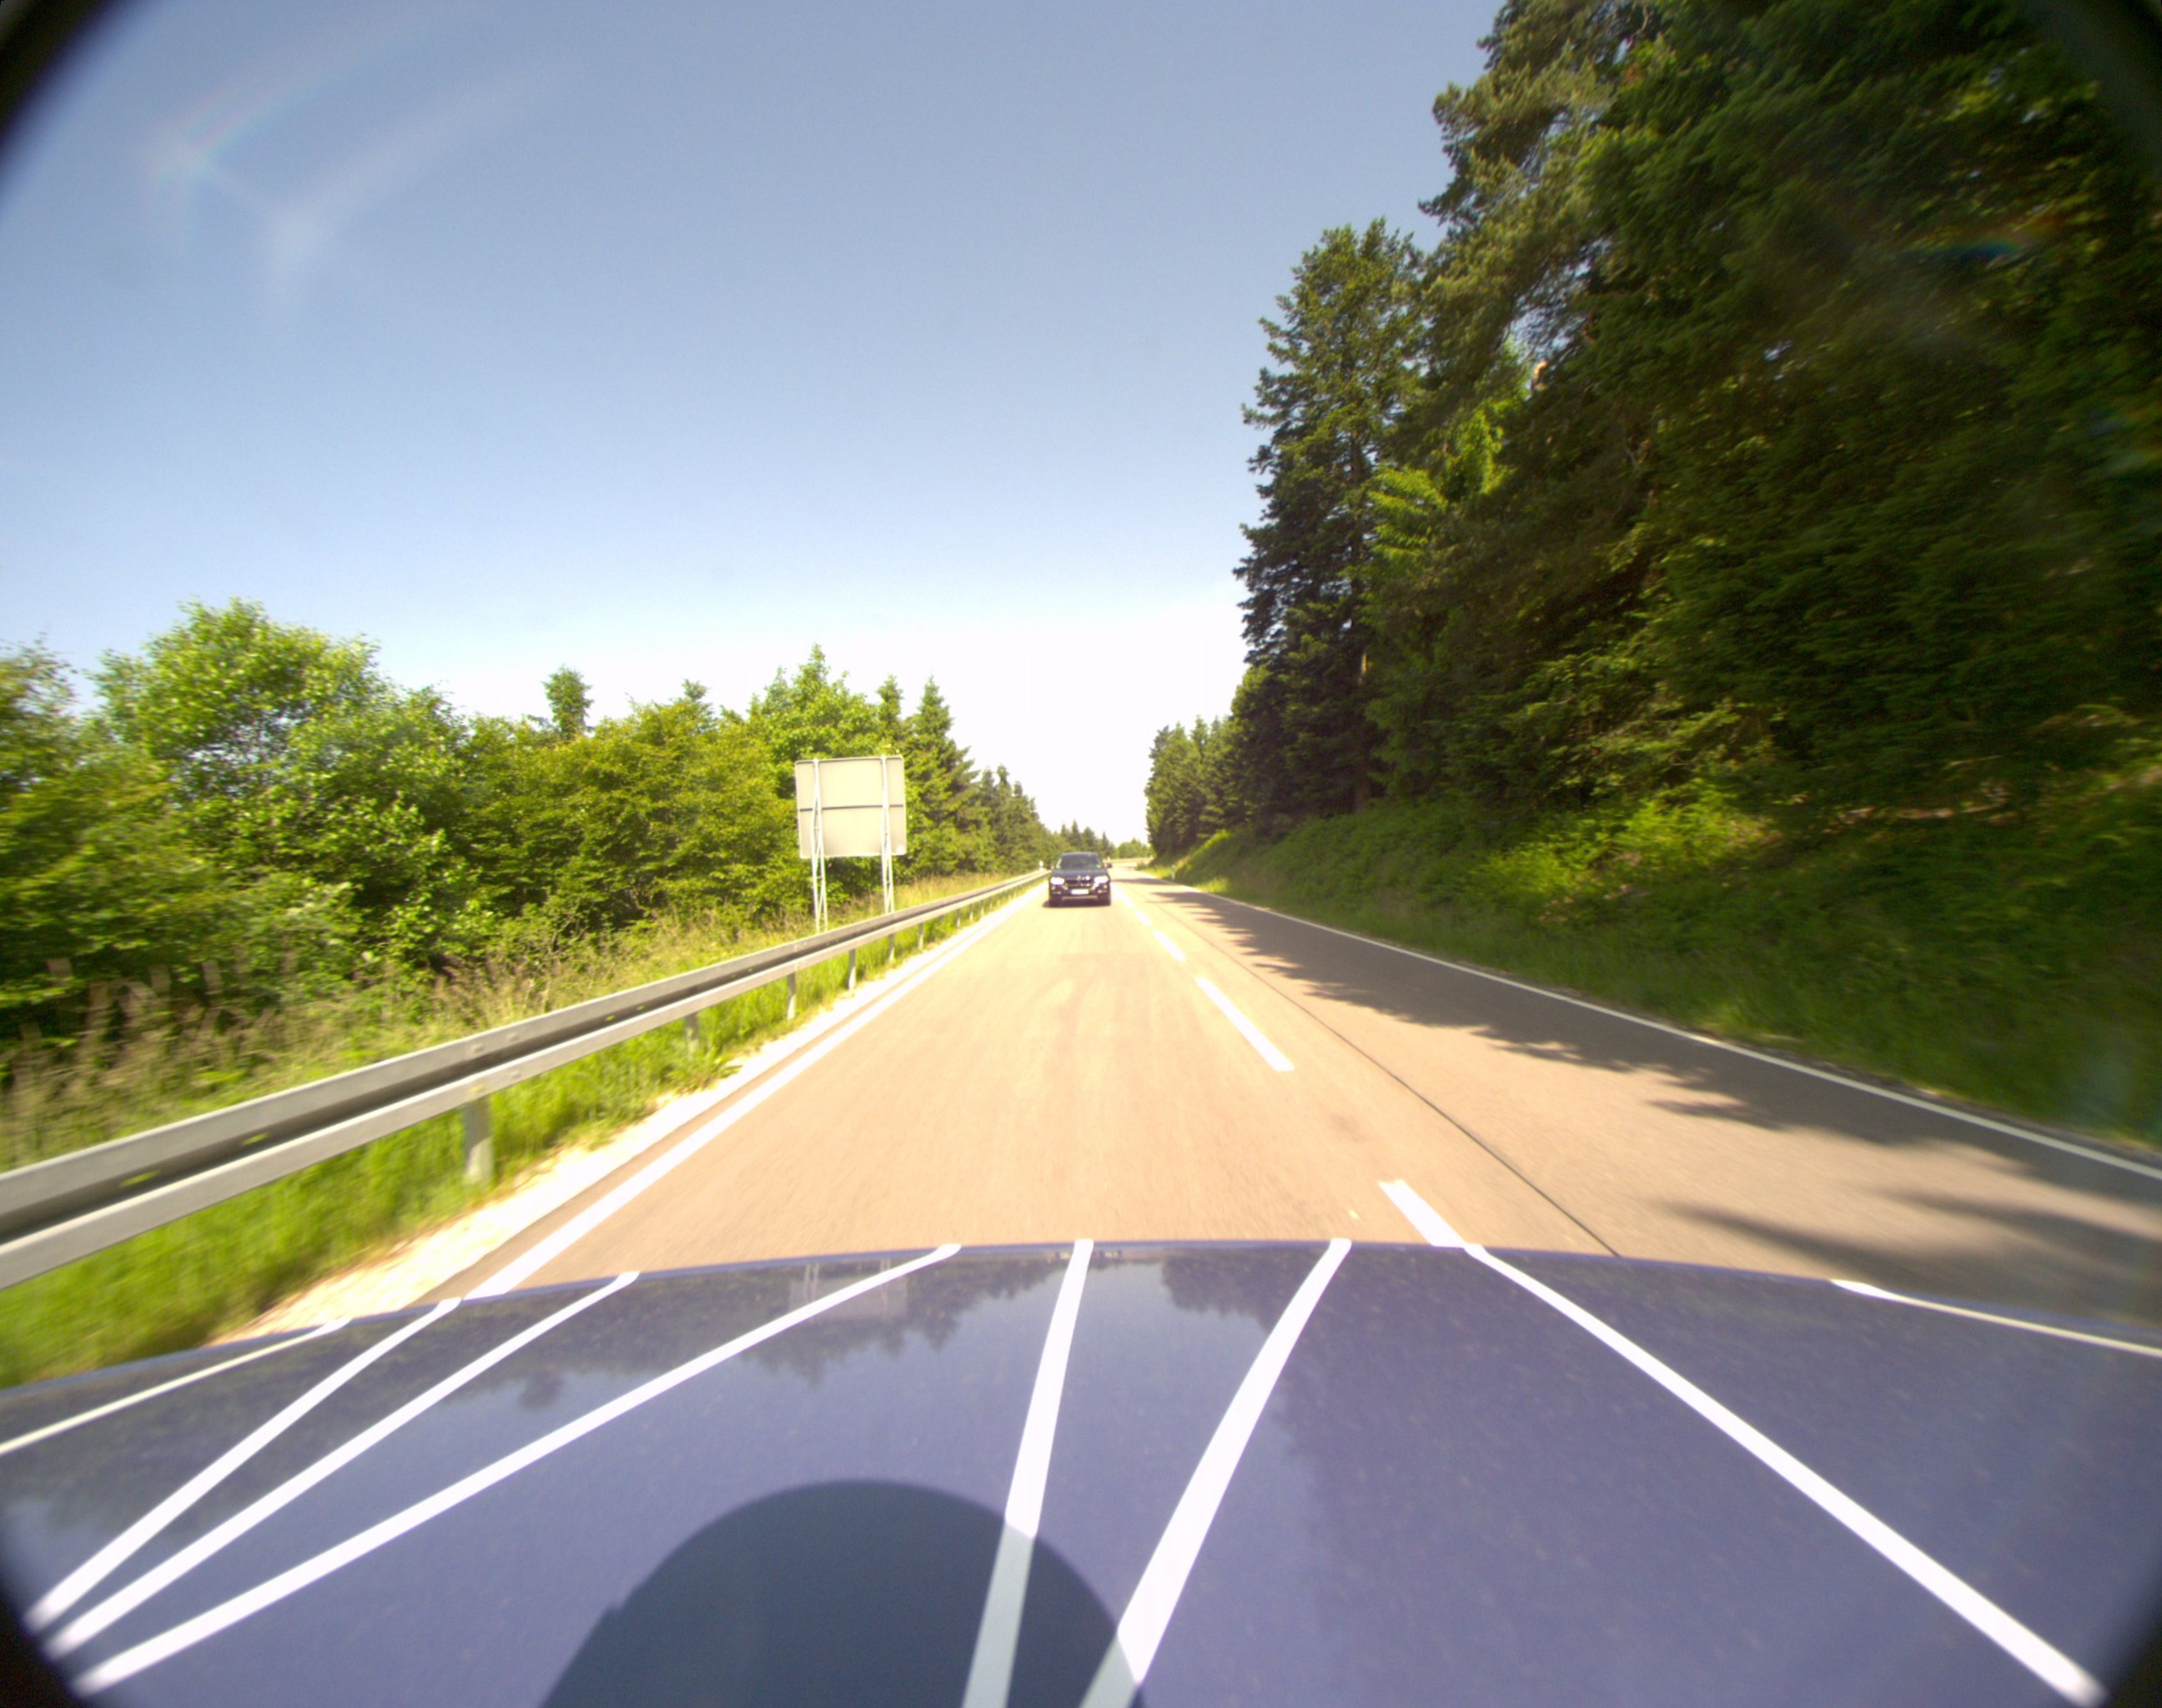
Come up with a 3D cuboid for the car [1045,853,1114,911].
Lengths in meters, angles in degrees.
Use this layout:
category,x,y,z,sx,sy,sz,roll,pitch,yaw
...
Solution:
category,x,y,z,sx,sy,sz,roll,pitch,yaw
car,-0.051,0.849,25.704,1.999,1.676,5.936,-2,0,0
